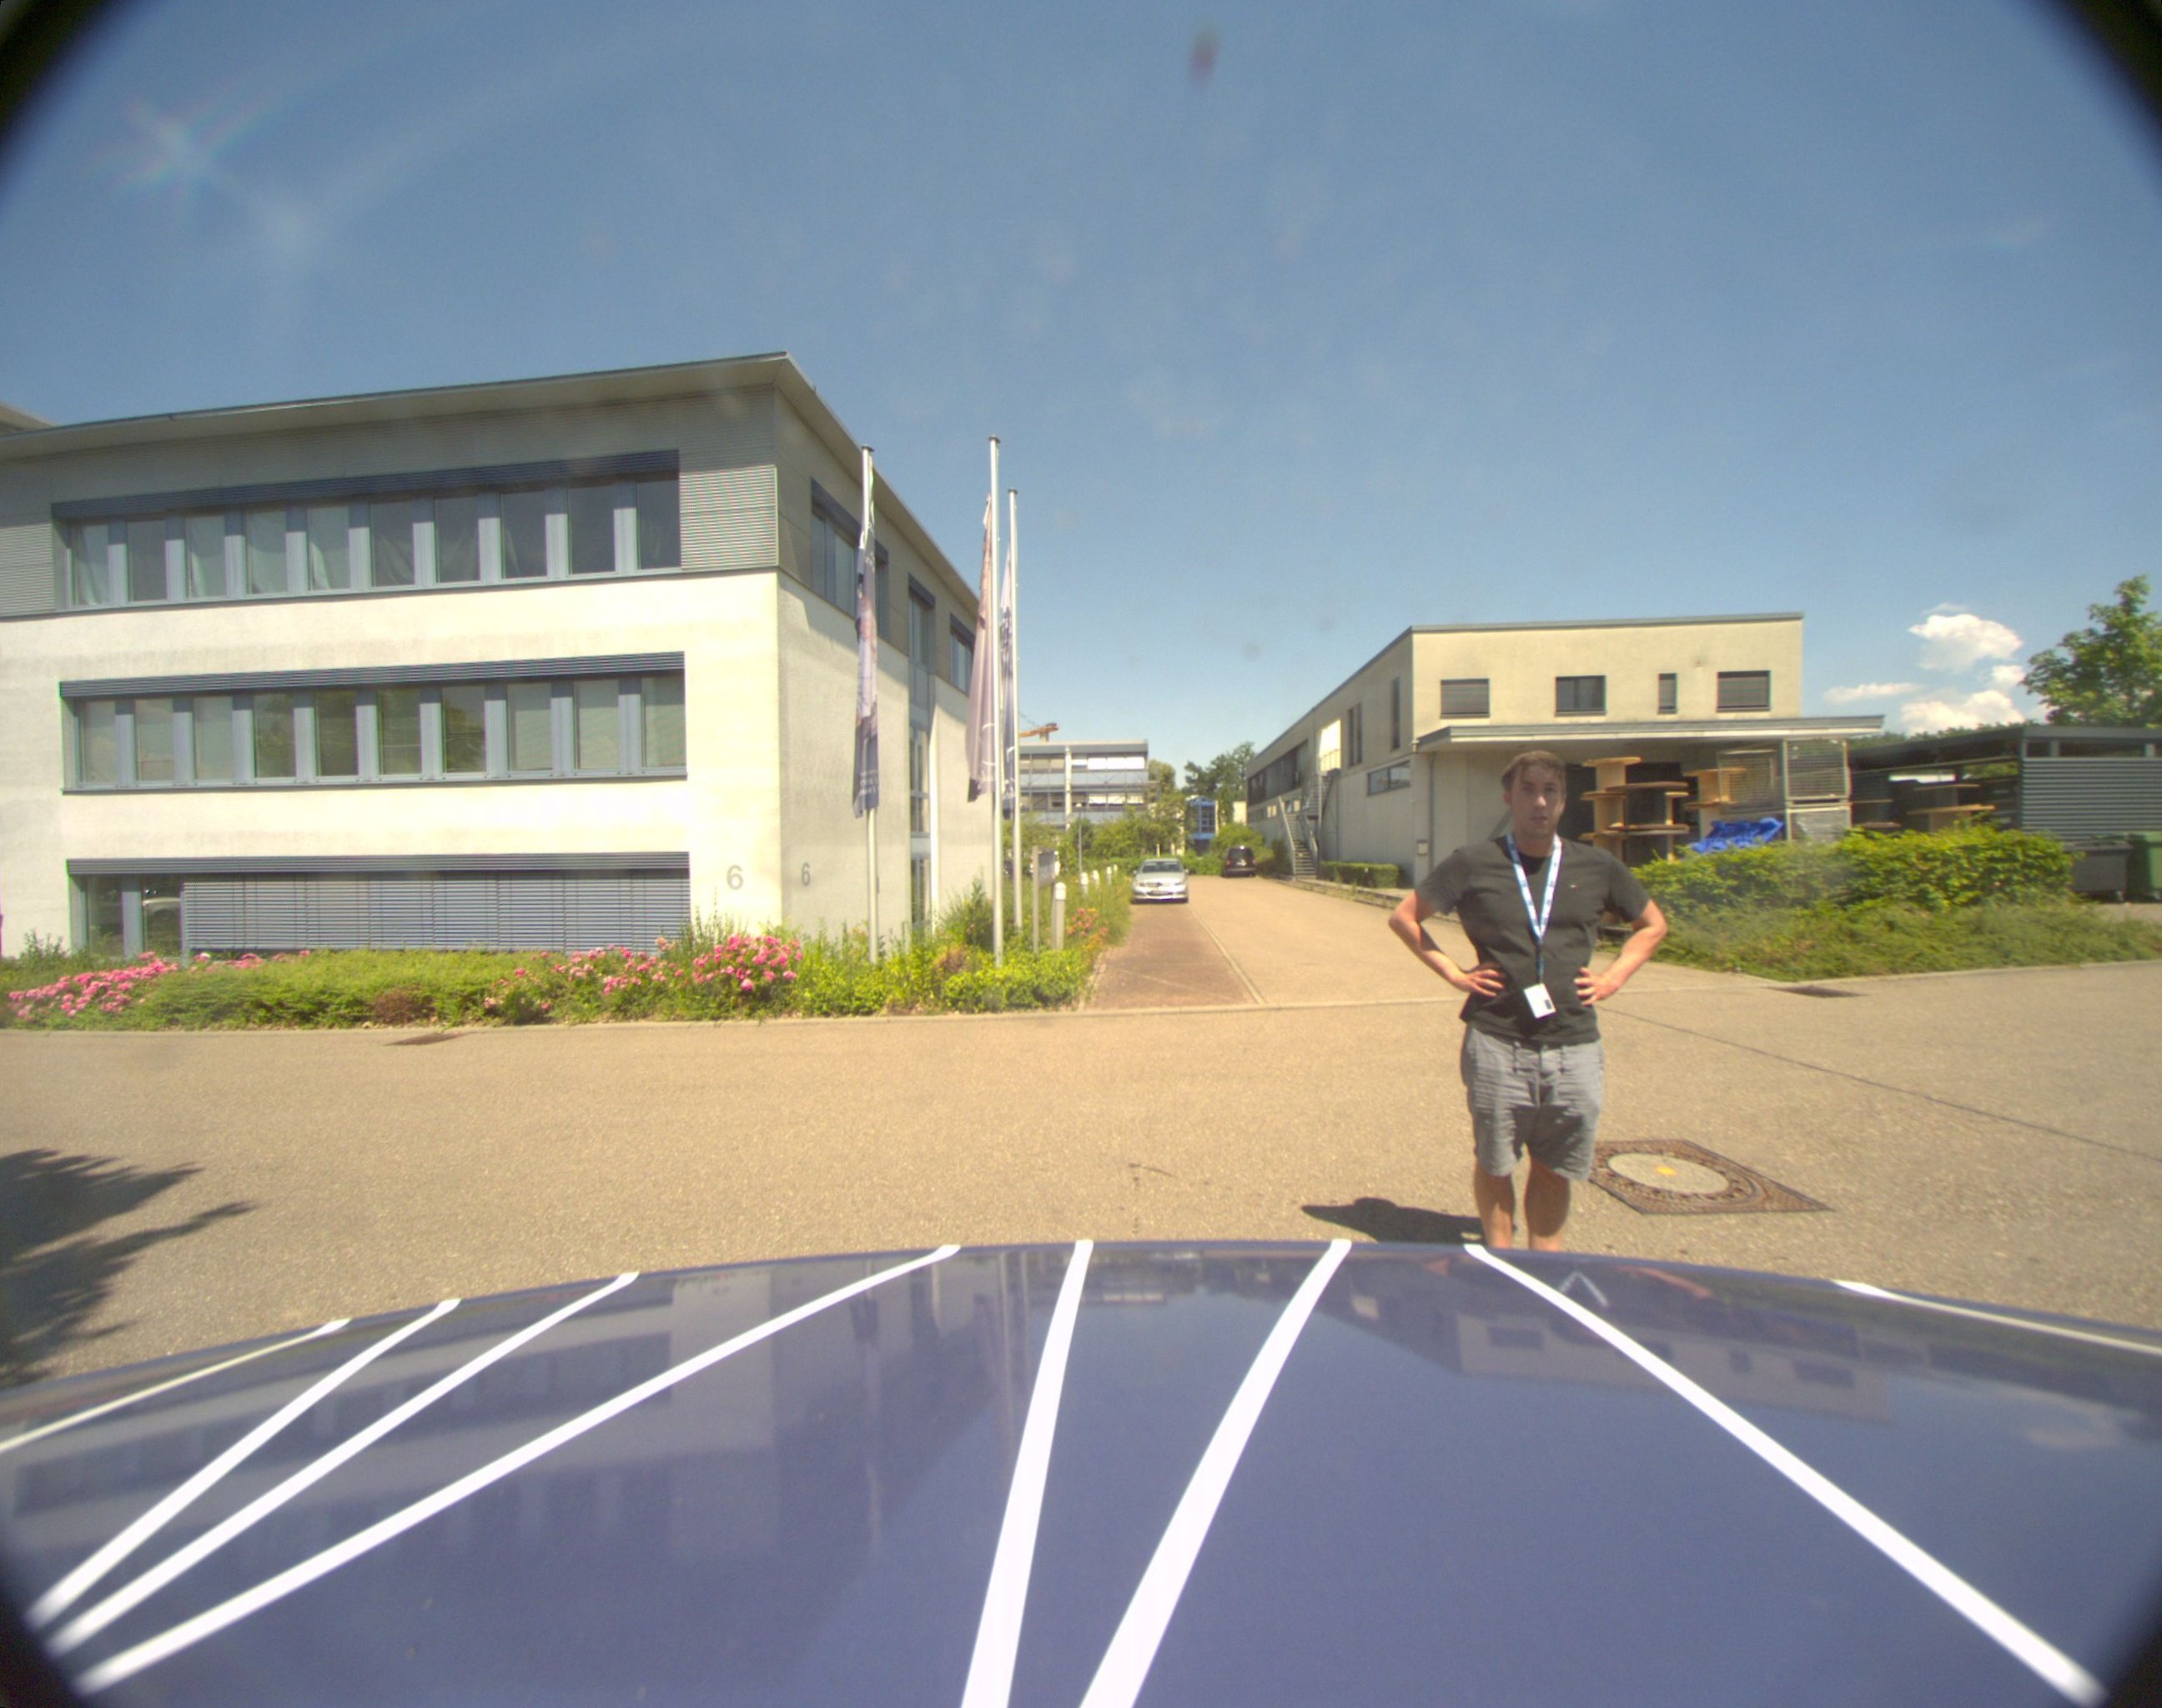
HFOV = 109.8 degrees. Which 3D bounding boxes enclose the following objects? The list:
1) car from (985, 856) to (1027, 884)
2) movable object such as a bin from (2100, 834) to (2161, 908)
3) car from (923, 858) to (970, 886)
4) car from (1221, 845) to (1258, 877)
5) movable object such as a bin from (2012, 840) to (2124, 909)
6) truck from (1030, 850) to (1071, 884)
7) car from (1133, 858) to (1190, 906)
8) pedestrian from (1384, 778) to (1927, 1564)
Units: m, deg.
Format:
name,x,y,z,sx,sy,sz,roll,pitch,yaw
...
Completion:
name,x,y,z,sx,sy,sz,roll,pitch,yaw
car,-4.539,0.941,46.387,1.787,1.537,4.001,-2,1,5
movable object such as a bin,20.140,0.304,14.196,1.071,1.329,0.760,-2,1,10
car,-8.200,1.075,46.764,1.787,1.537,4.001,-2,1,5
car,9.400,0.379,45.386,1.786,1.793,4.001,-2,1,7
movable object such as a bin,18.833,0.379,14.525,1.071,1.263,0.760,-2,1,10
truck,-1.777,0.726,45.408,1.998,1.882,4.001,-2,0,4
car,2.750,0.875,25.348,1.710,1.383,3.813,-1,1,9
pedestrian,1.518,0.744,2.218,0.860,1.809,0.904,-2,1,1
